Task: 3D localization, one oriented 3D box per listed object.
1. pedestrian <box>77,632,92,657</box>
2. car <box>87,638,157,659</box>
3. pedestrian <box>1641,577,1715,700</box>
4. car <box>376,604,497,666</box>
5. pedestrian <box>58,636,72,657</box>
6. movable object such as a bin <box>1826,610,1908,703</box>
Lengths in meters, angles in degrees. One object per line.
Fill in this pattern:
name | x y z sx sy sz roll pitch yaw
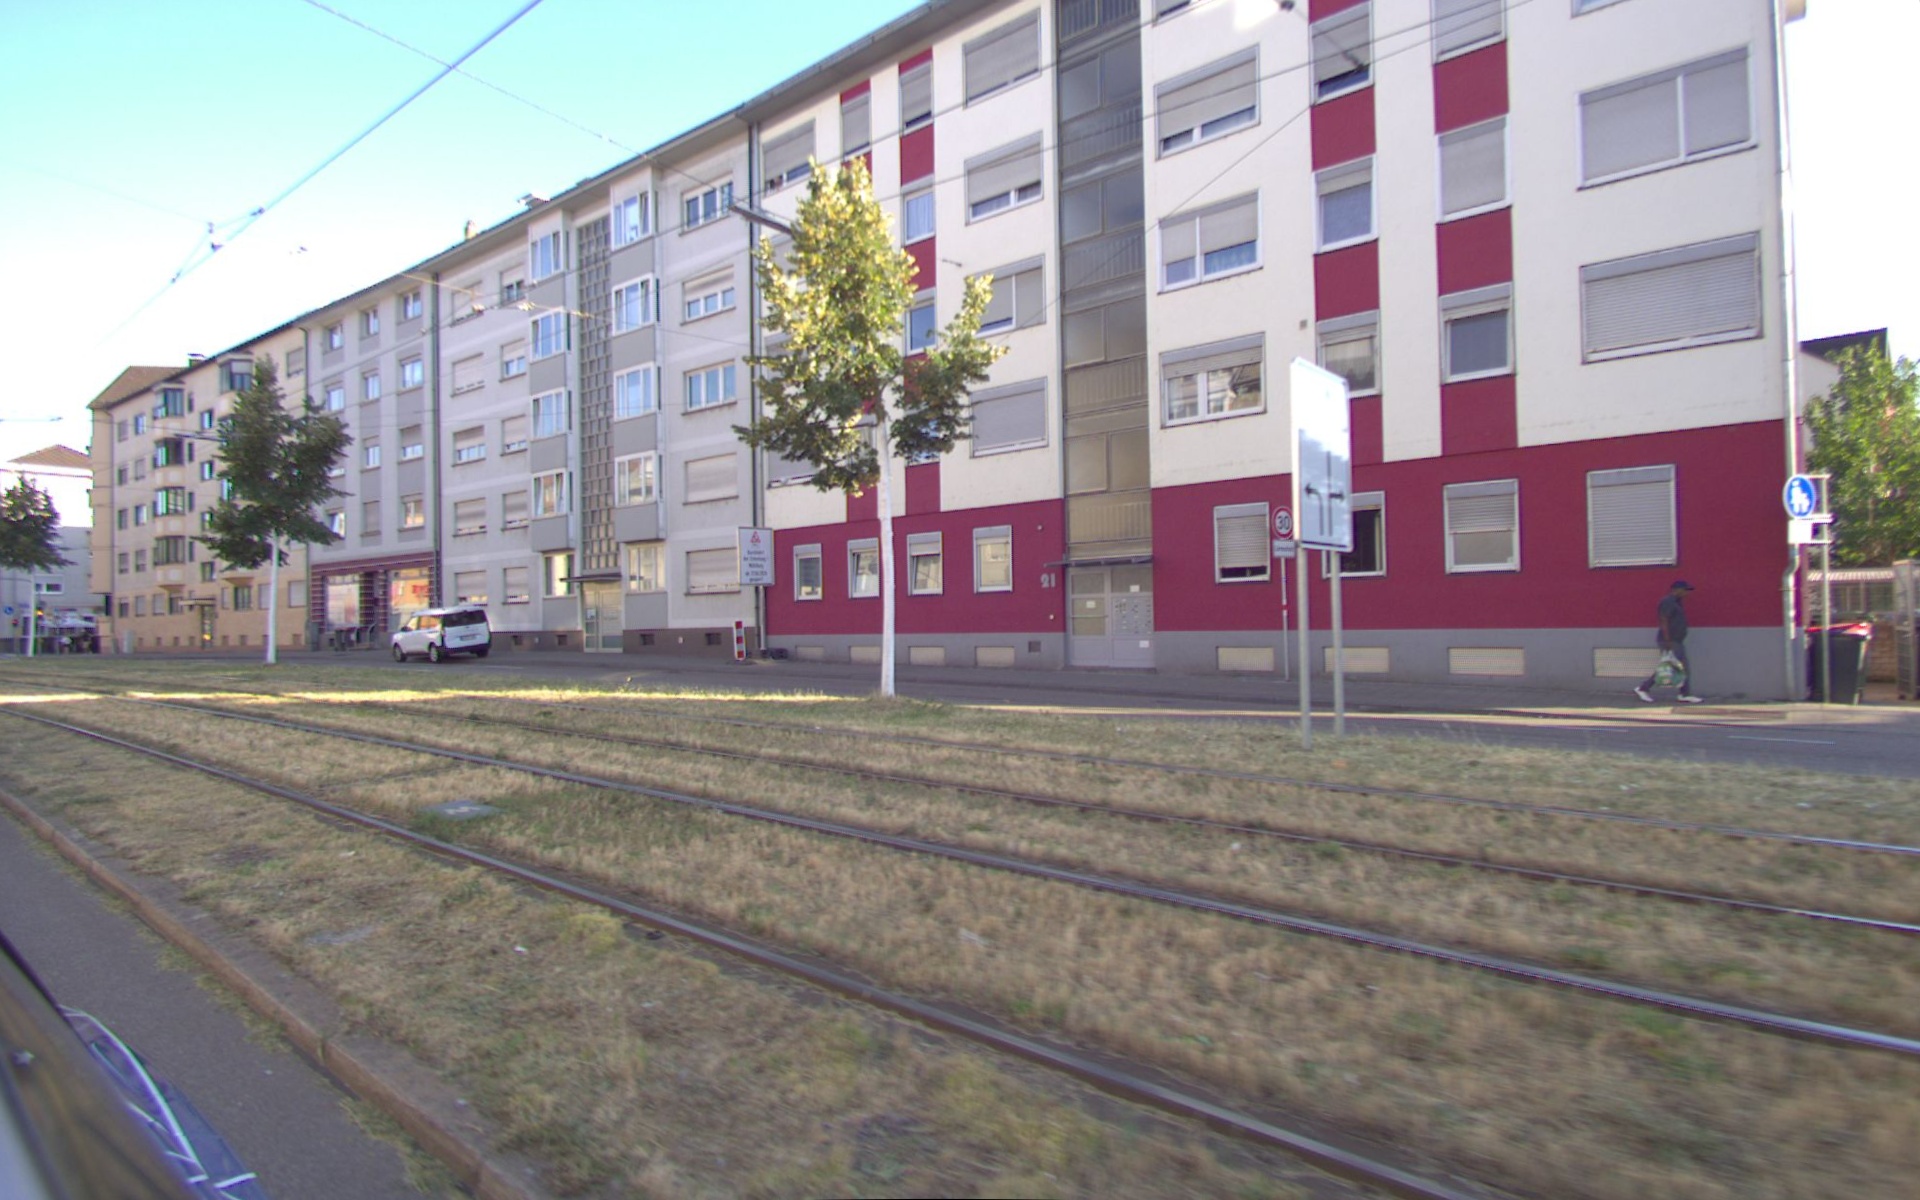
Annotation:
pedestrian | -61.693 3.122 71.329 0.624 1.784 0.827 0 -2 -25
car | -67.733 3.897 81.851 1.992 1.519 3.959 -2 -1 30
pedestrian | 10.305 0.546 14.529 0.791 1.702 0.607 -2 -1 39
car | -18.244 1.216 35.204 4.414 1.842 1.851 -2 5 37
pedestrian | -62.879 3.268 71.083 0.581 1.501 0.617 -1 -1 34
movable object such as a bin | 12.645 0.766 14.139 0.805 1.235 0.857 -1 -1 40
